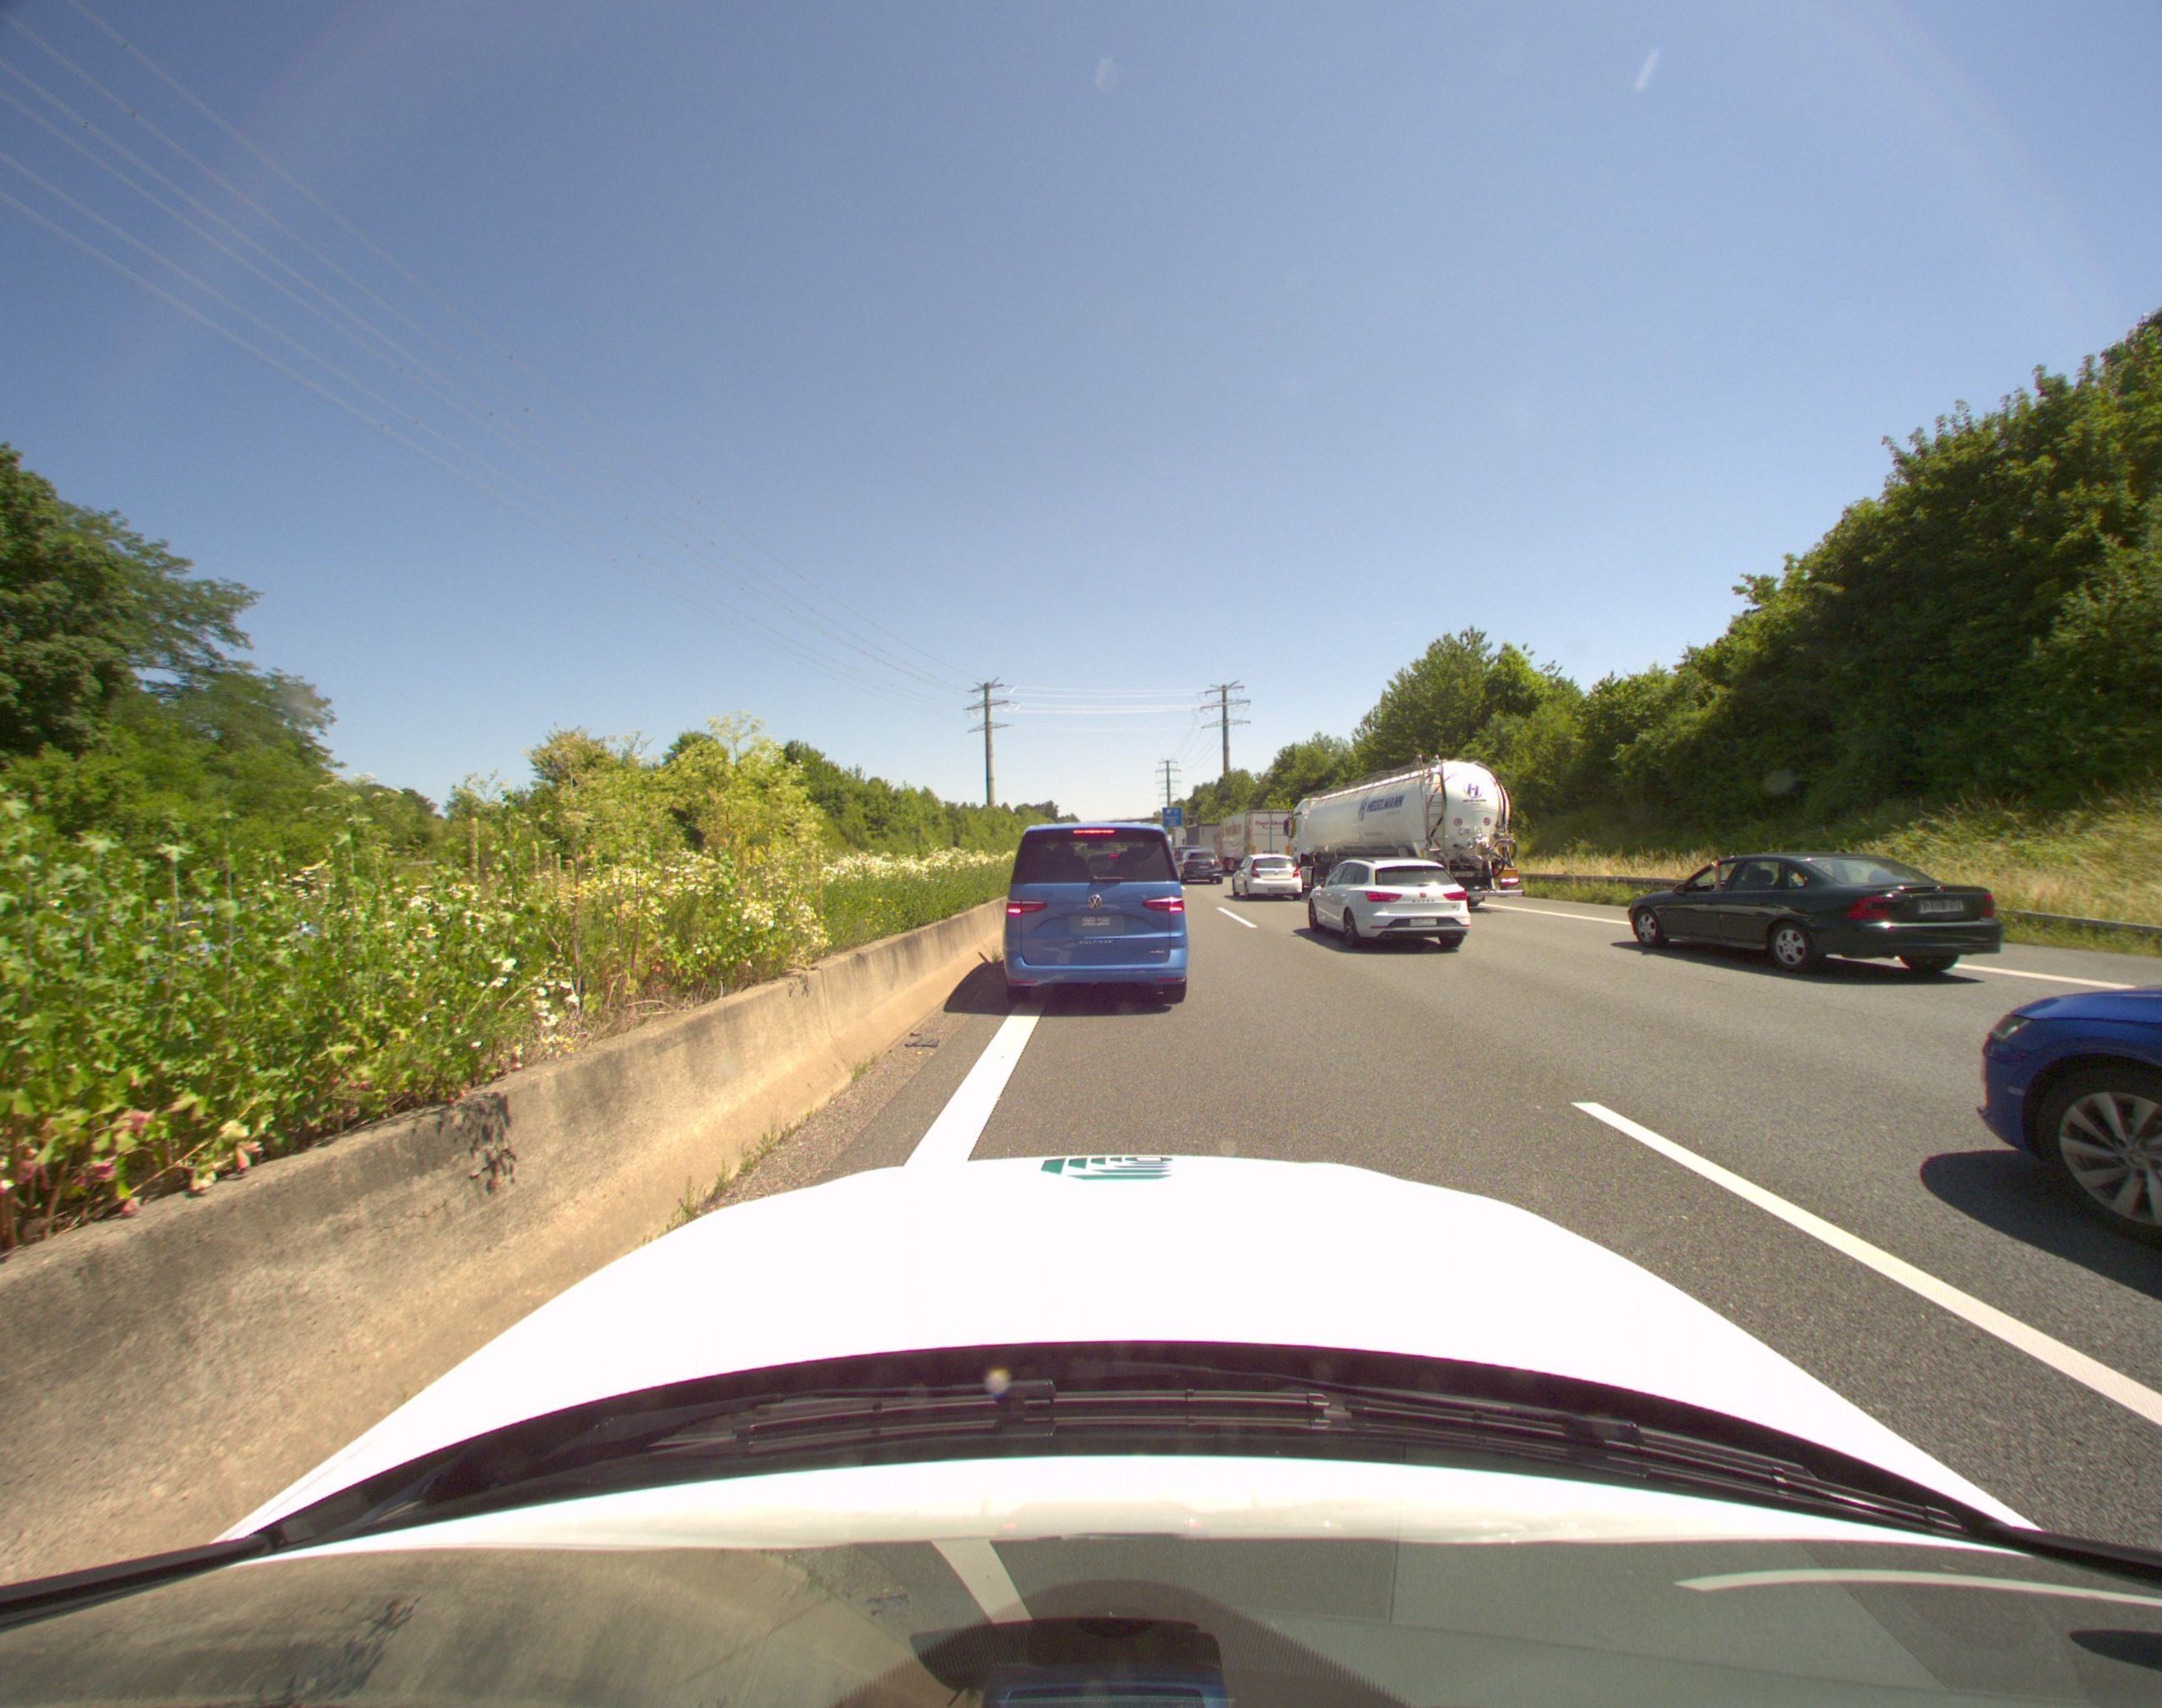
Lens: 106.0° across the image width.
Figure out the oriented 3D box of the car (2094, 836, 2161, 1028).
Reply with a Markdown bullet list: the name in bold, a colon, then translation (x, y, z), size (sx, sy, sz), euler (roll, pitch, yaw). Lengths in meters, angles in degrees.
- **car**: translation (8.980, 0.574, 4.536), size (1.724, 1.443, 4.030), euler (-2, 0, 2)

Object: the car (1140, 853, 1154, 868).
- **car**: translation (9.284, 0.939, 115.464), size (1.828, 1.998, 4.004), euler (-3, -1, 4)

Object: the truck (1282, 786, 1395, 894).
- **truck**: translation (10.074, -0.502, 32.515), size (2.782, 3.836, 5.574), euler (-2, 0, 2)

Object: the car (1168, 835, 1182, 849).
- **car**: translation (14.966, -1.855, 130.061), size (1.985, 2.014, 4.003), euler (-2, -1, 3)

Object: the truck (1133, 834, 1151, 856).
- **truck**: translation (11.104, -1.532, 149.040), size (2.883, 3.766, 10.148), euler (-2, -1, 3)

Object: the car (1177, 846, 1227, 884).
- **car**: translation (5.963, 0.545, 40.730), size (1.991, 1.715, 4.629), euler (-2, -1, 3)

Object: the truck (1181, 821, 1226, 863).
- **truck**: translation (12.261, -1.031, 82.852), size (2.993, 3.766, 15.726), euler (-2, -1, 3)

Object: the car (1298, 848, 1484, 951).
- **car**: translation (5.124, 0.709, 14.130), size (1.740, 1.443, 4.317), euler (-2, -1, 3)

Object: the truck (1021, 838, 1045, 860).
- **truck**: translation (-8.525, -0.816, 145.782), size (2.900, 3.819, 11.951), euler (-1, 0, 3)

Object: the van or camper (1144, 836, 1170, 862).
- **van or camper**: translation (9.391, -0.560, 100.853), size (2.944, 3.022, 7.110), euler (-2, -1, 4)

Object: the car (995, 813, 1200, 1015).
- **car**: translation (0.249, 0.568, 9.679), size (1.912, 1.886, 4.003), euler (-1, 0, 2)

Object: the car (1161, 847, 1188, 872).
- **car**: translation (7.981, 0.487, 69.899), size (1.916, 1.925, 4.237), euler (-3, -1, 2)

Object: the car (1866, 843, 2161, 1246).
- **car**: translation (4.749, 0.643, 1.706), size (1.770, 1.416, 4.572), euler (-3, -1, 0)

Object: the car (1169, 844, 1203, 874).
- **car**: translation (7.331, 0.364, 57.102), size (1.916, 1.925, 4.237), euler (-3, -1, 2)

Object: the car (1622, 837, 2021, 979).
- **car**: translation (9.128, 0.602, 10.592), size (1.634, 1.416, 3.992), euler (-3, -1, 3)

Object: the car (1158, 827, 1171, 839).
- **car**: translation (15.426, -3.893, 150.758), size (1.985, 2.014, 4.003), euler (-2, -1, 3)

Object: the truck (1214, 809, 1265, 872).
- **truck**: translation (11.909, -0.948, 61.730), size (2.901, 4.469, 5.145), euler (-2, 0, 2)

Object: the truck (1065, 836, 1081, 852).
- **truck**: translation (-1.909, -2.459, 201.988), size (3.160, 3.819, 11.951), euler (-1, 0, 3)

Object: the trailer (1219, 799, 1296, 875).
- **trailer**: translation (11.650, -0.982, 55.100), size (2.901, 4.469, 12.159), euler (-2, 0, 2)

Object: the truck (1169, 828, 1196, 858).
- **truck**: translation (14.134, -1.451, 114.184), size (2.883, 3.766, 13.356), euler (-2, -1, 3)

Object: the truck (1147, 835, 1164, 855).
- **truck**: translation (17.896, -2.176, 196.268), size (3.552, 4.517, 10.298), euler (-2, -1, 2)

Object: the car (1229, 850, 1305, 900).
- **car**: translation (6.133, 0.690, 27.253), size (1.809, 1.485, 4.004), euler (-2, -1, 4)

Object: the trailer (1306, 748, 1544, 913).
- **trailer**: translation (9.799, -0.532, 25.178), size (2.750, 3.845, 11.491), euler (-2, 0, 2)
